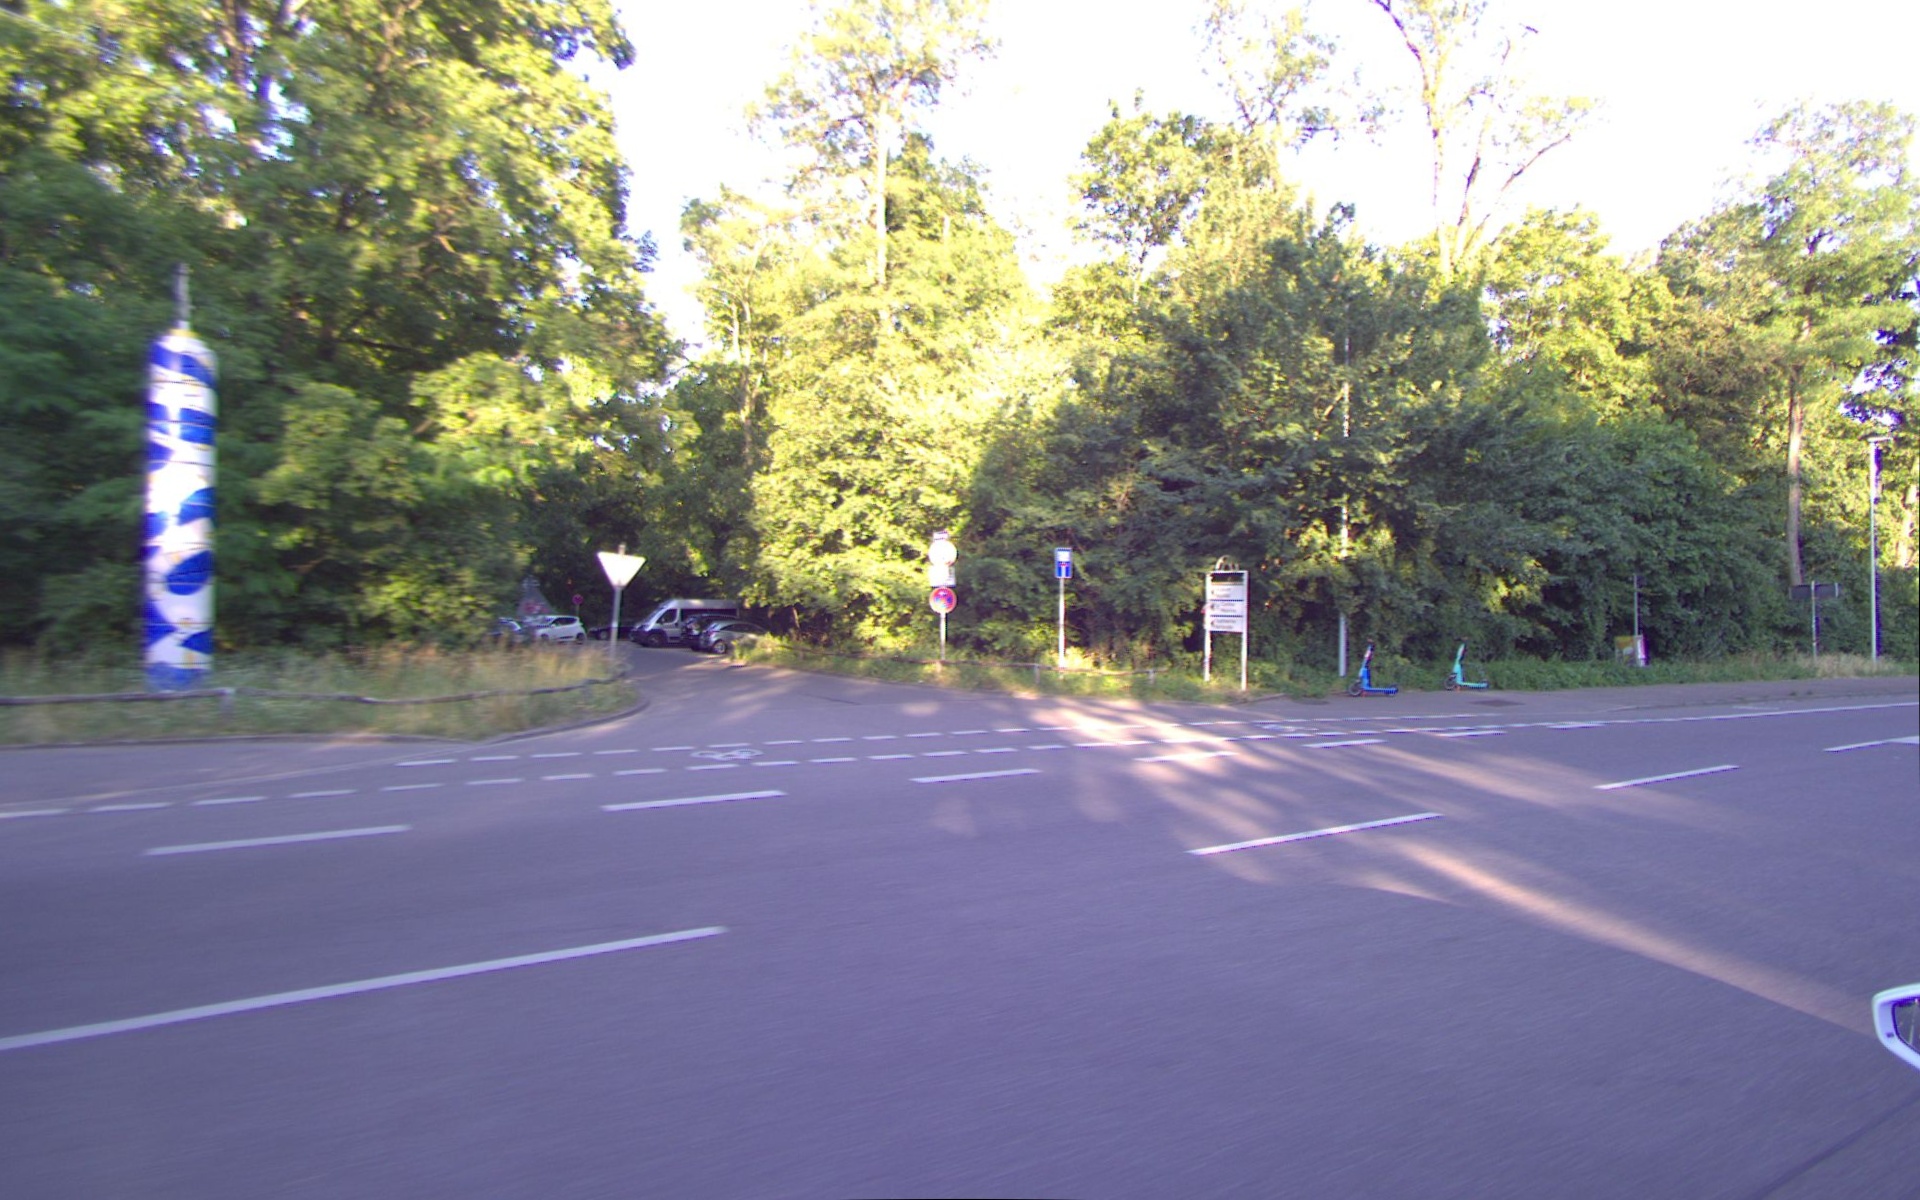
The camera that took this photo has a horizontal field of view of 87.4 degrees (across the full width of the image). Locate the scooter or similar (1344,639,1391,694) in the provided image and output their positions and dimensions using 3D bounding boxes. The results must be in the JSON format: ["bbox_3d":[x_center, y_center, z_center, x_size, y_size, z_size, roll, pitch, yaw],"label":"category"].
[{"bbox_3d":[8.572,1.384,21.146,0.862,1.124,0.362,1,-1,12],"label":"scooter or similar"}]

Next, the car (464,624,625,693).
[{"bbox_3d":[-9.645,1.313,23.319,3.302,1.471,1.737,1,-1,-29],"label":"car"}]

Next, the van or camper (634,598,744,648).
[{"bbox_3d":[-13.860,1.160,51.461,5.037,2.408,1.982,1,0,-32],"label":"van or camper"}]

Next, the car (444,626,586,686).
[{"bbox_3d":[-11.762,1.438,26.566,3.302,1.471,1.737,1,-1,-29],"label":"car"}]

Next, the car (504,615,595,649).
[{"bbox_3d":[-20.791,1.614,51.048,1.770,1.608,4.125,0,-1,26],"label":"car"}]

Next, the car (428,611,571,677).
[{"bbox_3d":[-13.302,1.248,29.029,3.627,1.807,1.737,1,-1,-29],"label":"car"}]

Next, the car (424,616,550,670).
[{"bbox_3d":[-15.632,1.399,33.208,3.629,1.708,1.736,1,-1,-30],"label":"car"}]

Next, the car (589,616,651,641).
[{"bbox_3d":[-21.562,1.788,63.700,3.622,1.527,1.596,1,-1,-25],"label":"car"}]

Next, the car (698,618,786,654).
[{"bbox_3d":[-9.689,1.607,44.621,3.620,1.527,1.597,1,-1,-23],"label":"car"}]

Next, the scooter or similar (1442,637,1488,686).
[{"bbox_3d":[11.577,1.391,23.034,0.885,1.082,0.494,0,-1,35],"label":"scooter or similar"}]

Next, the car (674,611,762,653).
[{"bbox_3d":[-11.294,1.462,46.884,3.629,1.885,1.900,1,-1,-30],"label":"car"}]
